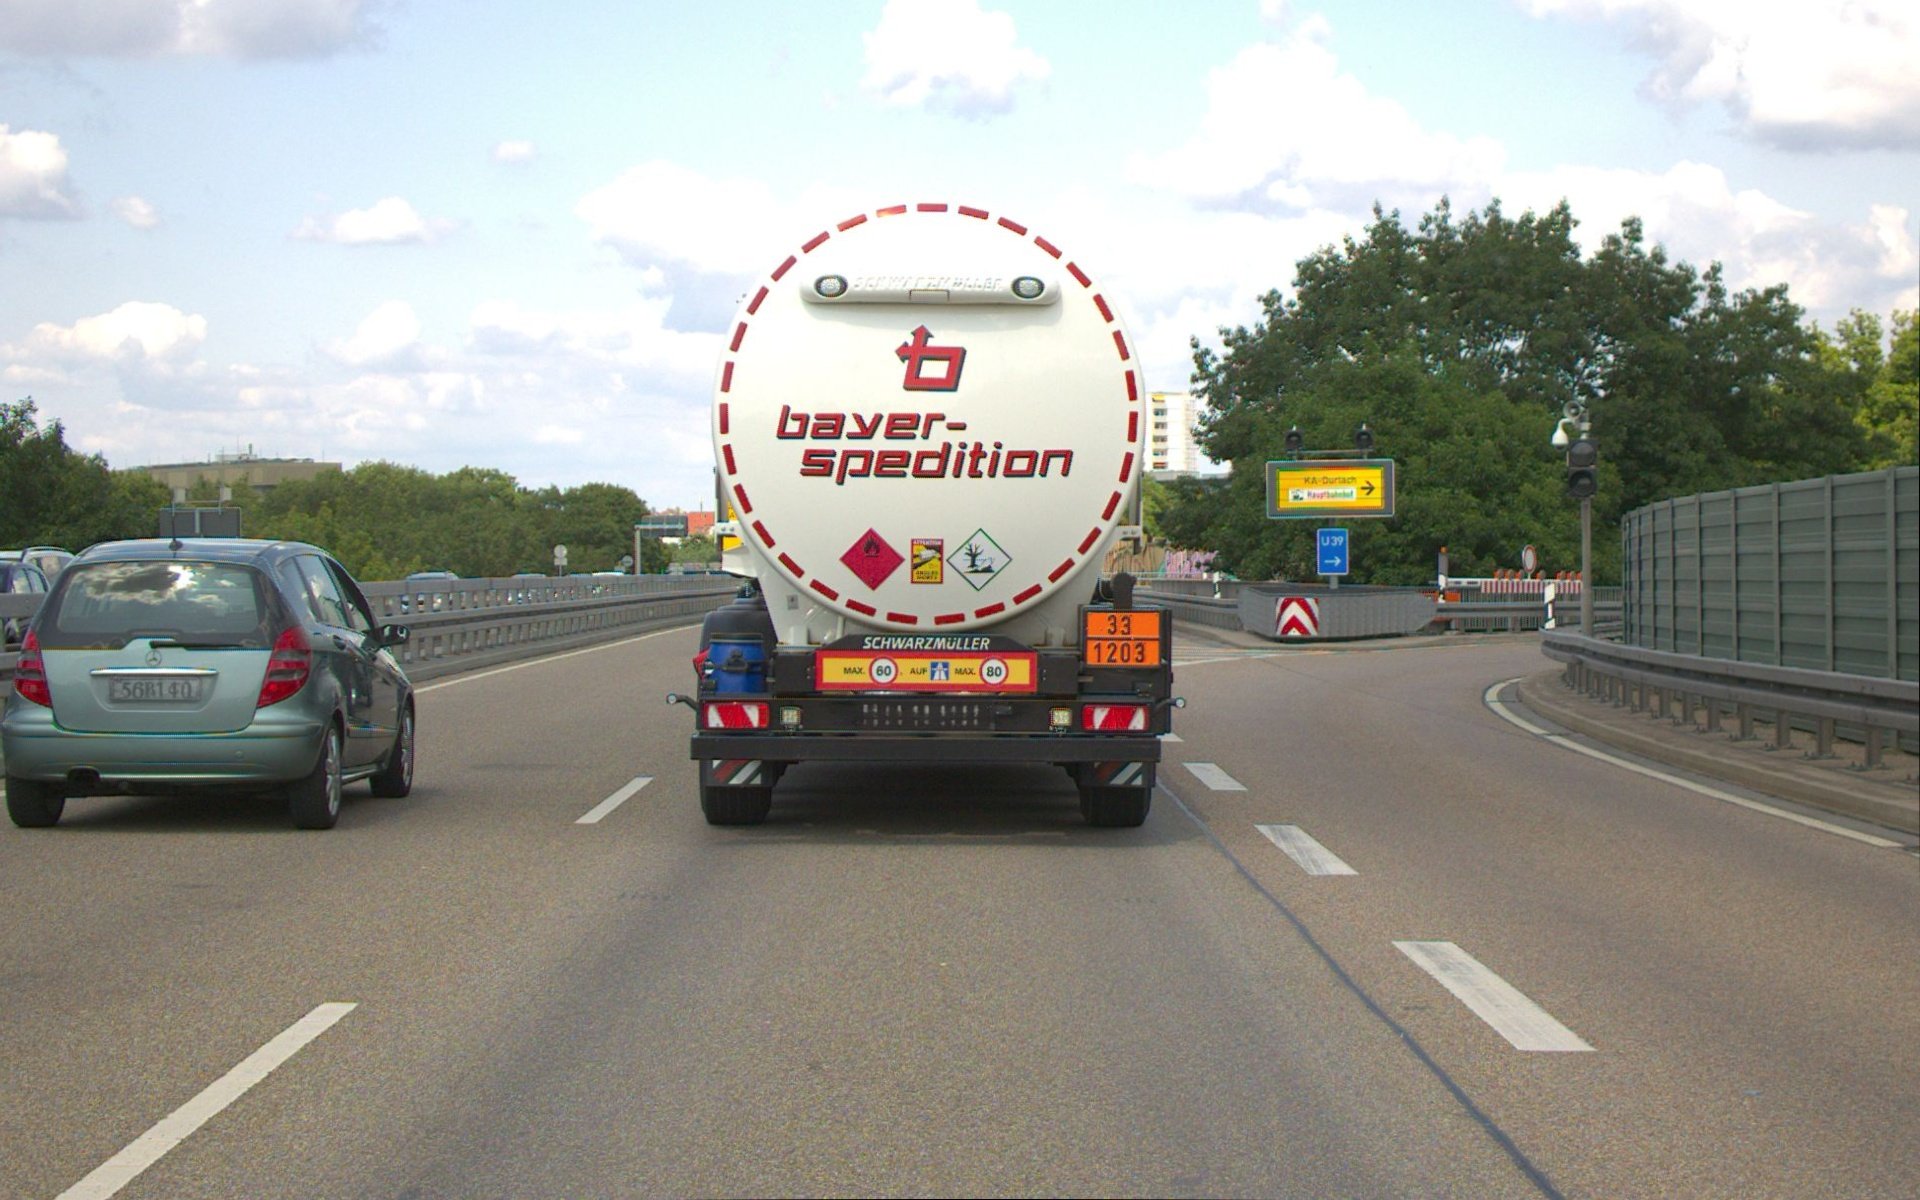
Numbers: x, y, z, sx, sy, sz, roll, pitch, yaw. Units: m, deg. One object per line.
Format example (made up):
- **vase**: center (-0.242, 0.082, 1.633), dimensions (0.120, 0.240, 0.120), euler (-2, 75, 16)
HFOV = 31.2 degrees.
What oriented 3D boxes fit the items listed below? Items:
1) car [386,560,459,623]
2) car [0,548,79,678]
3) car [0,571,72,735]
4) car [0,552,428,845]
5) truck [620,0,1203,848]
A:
- **car**: center (-15.735, -0.262, 100.741), dimensions (1.582, 1.705, 4.411), euler (1, 2, -2)
- **car**: center (-15.860, 0.155, 55.807), dimensions (1.960, 1.918, 5.192), euler (2, 1, -3)
- **car**: center (-11.867, 0.579, 40.132), dimensions (1.993, 1.850, 4.239), euler (1, 0, -2)
- **car**: center (-4.246, 0.485, 19.920), dimensions (1.747, 1.526, 4.000), euler (0, 1, -1)
- **truck**: center (-0.307, -0.966, 21.507), dimensions (2.895, 4.354, 8.030), euler (1, 0, -1)
